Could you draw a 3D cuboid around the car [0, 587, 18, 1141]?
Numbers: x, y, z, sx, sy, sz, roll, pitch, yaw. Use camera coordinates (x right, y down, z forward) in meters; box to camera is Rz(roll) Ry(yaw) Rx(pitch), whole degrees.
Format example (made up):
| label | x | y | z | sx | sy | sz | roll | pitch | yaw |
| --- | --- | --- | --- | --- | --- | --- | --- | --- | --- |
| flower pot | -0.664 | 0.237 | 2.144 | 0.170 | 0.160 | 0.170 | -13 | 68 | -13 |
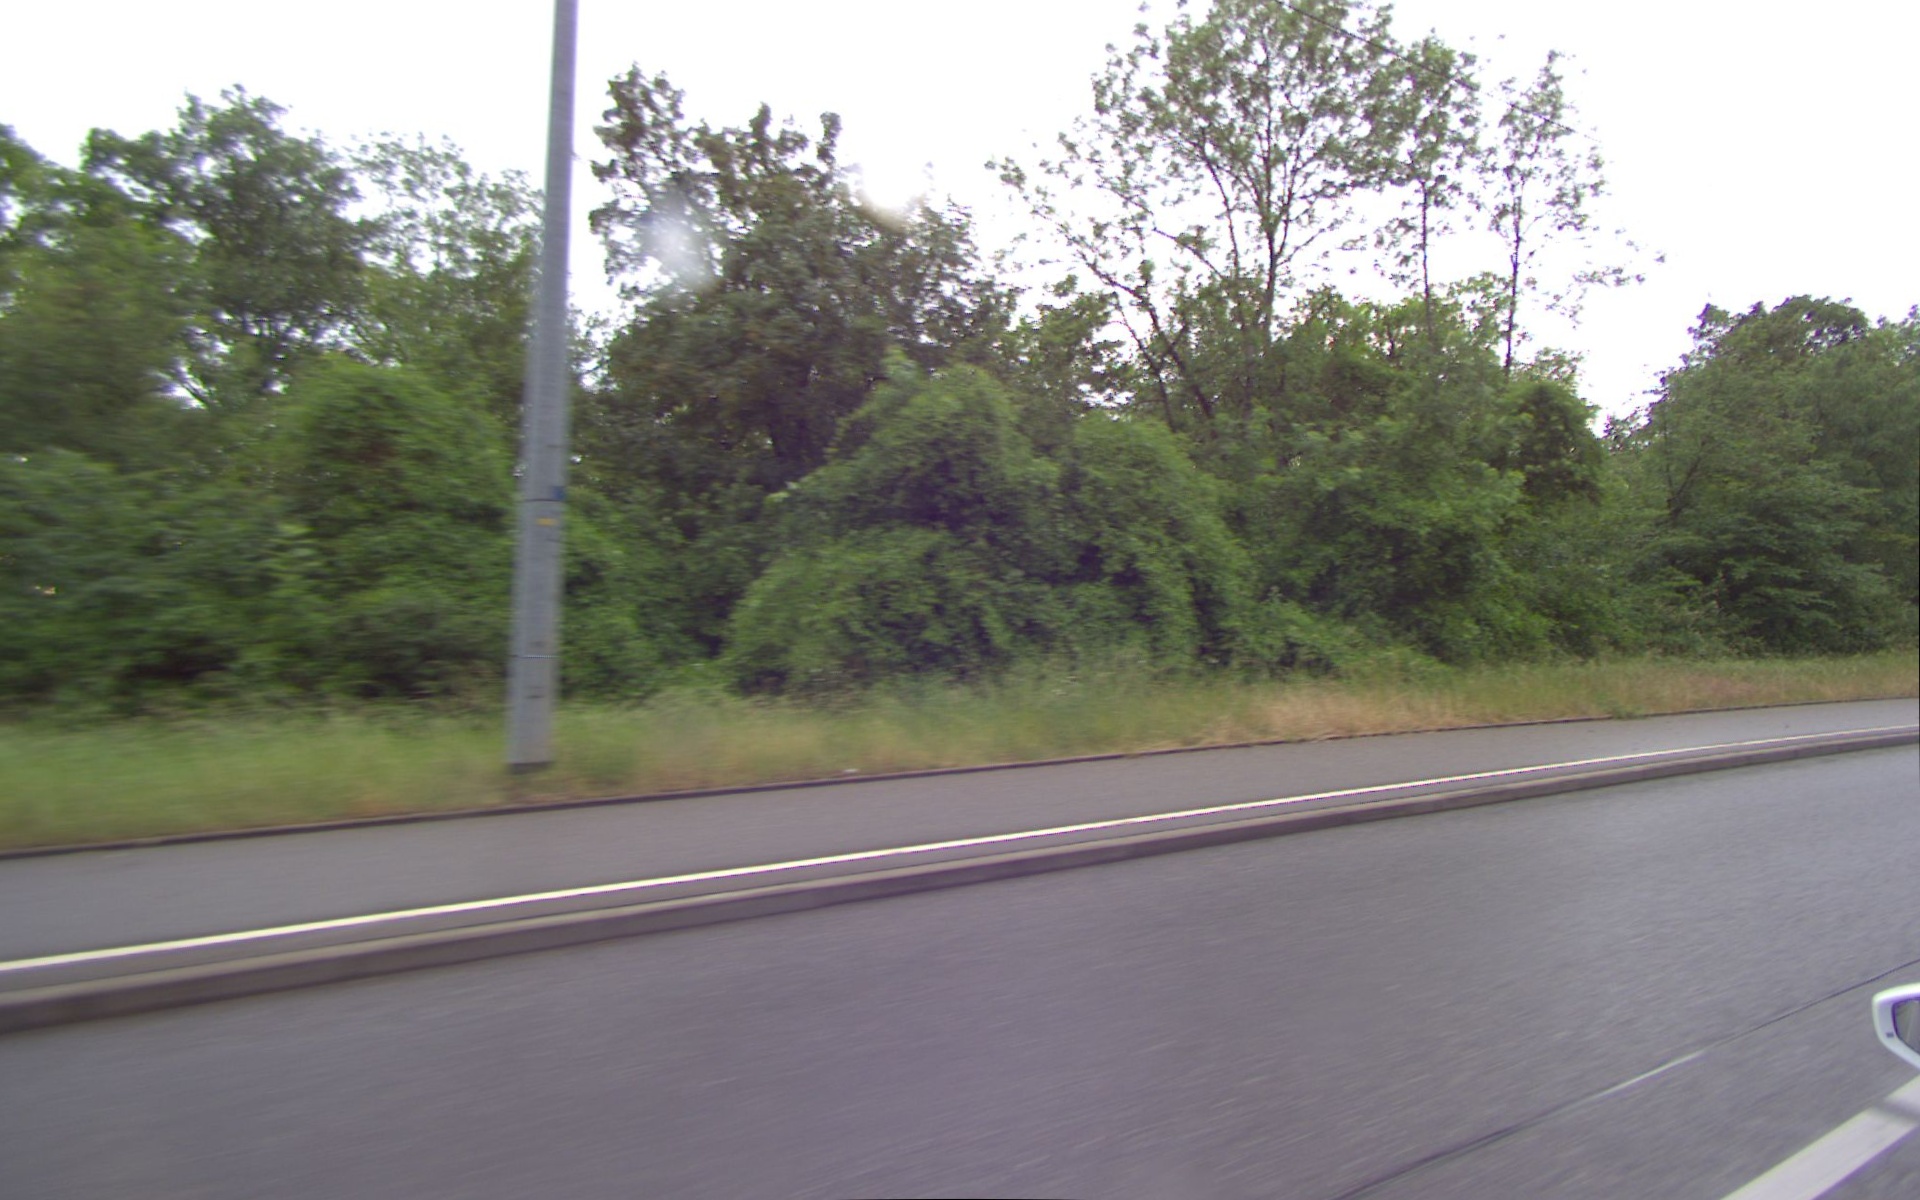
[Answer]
| label | x | y | z | sx | sy | sz | roll | pitch | yaw |
| --- | --- | --- | --- | --- | --- | --- | --- | --- | --- |
| car | -4.005 | 0.651 | 0.794 | 4.422 | 1.449 | 1.771 | 1 | 0 | -30 |
